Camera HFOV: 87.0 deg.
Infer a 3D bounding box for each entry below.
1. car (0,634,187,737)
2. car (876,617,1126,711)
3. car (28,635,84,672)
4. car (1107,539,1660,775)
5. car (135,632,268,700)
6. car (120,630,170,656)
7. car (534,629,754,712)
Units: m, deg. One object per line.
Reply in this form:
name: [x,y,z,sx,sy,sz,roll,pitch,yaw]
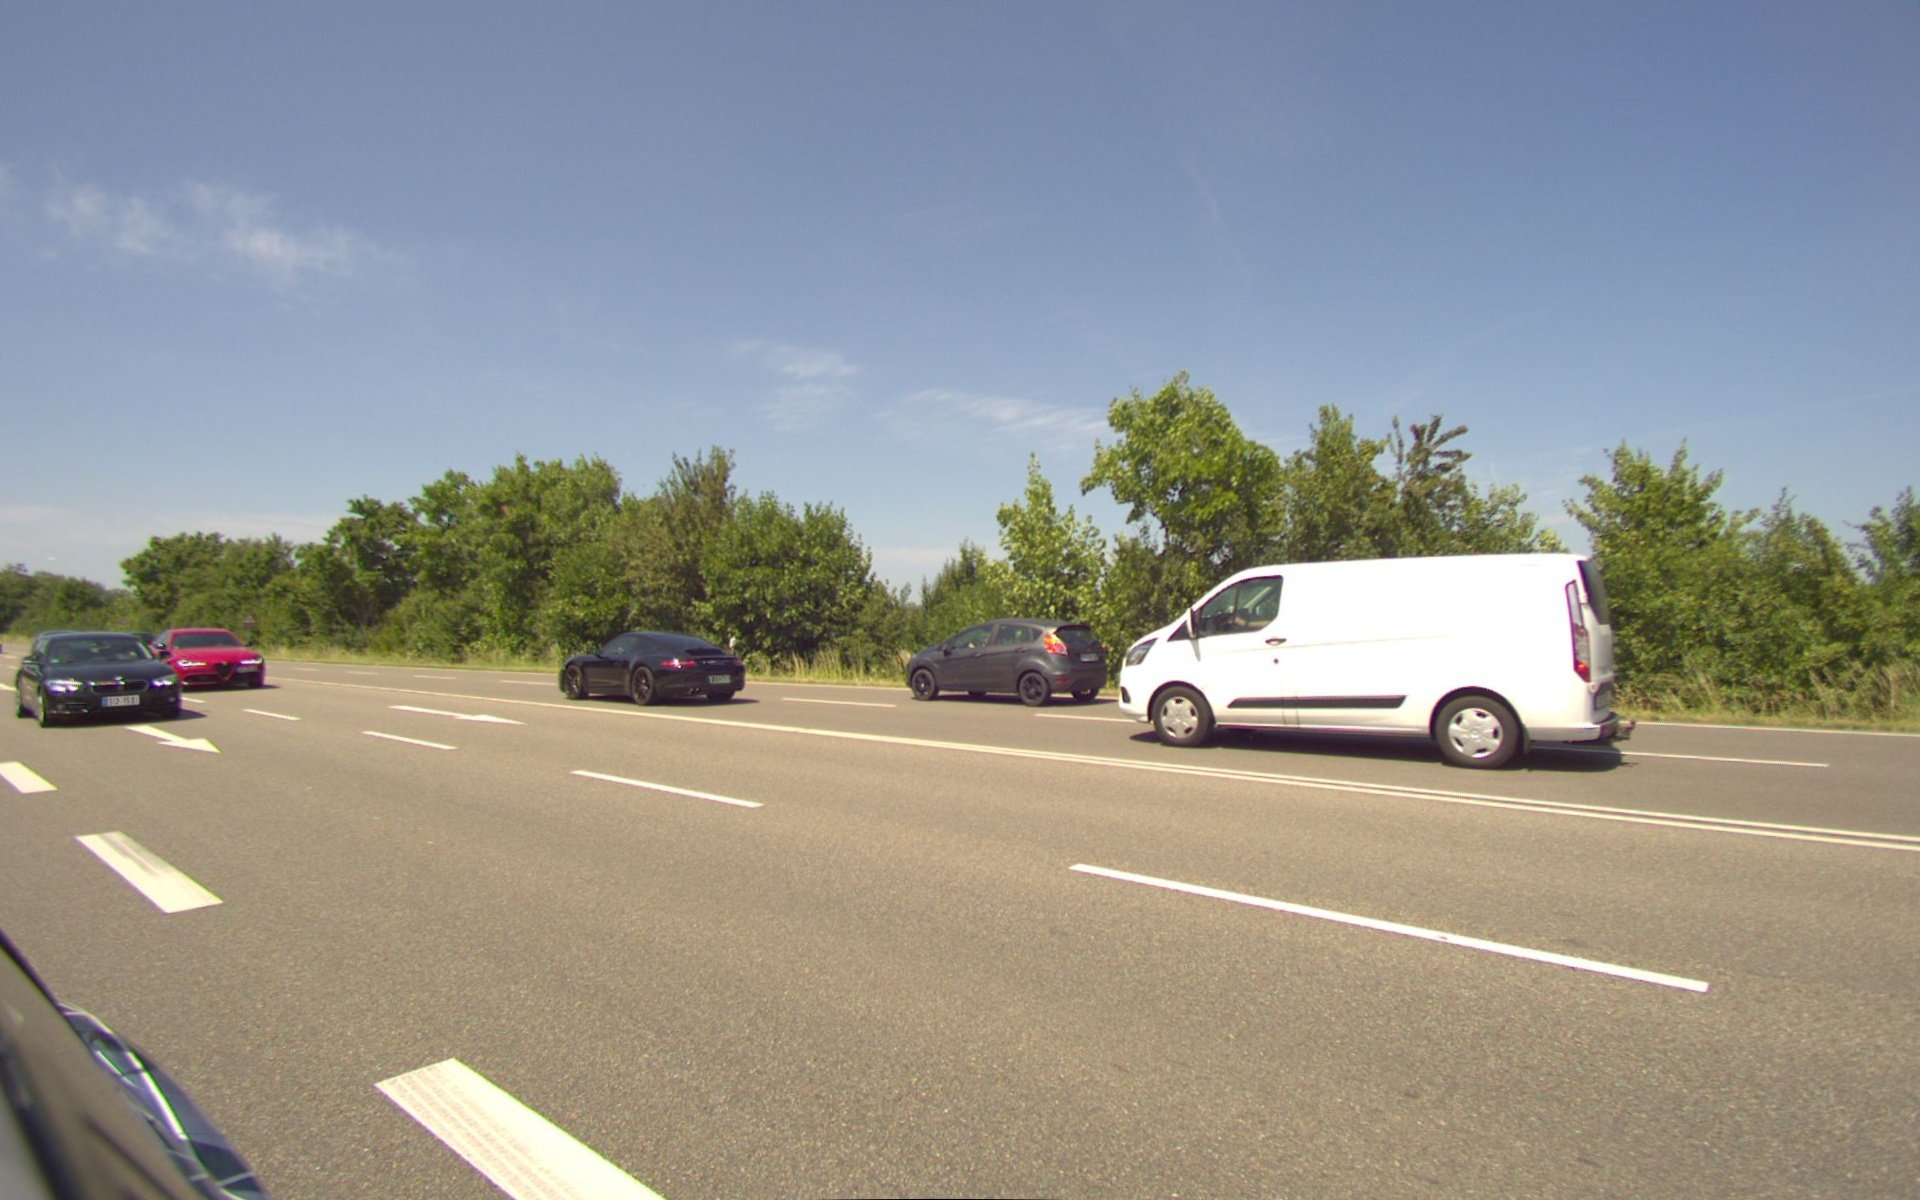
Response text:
car: [-14.493,1.340,16.839,4.378,1.441,1.765,-3,-1,41]
car: [0.631,1.080,17.992,4.340,1.472,1.642,-2,-2,40]
car: [-38.209,2.206,42.725,1.655,1.422,4.471,0,-1,-43]
car: [4.219,0.559,10.621,5.043,1.932,1.887,-2,-3,37]
car: [-18.447,1.554,24.532,4.564,1.432,1.730,-3,-1,42]
car: [-52.175,2.747,64.760,4.526,1.547,1.868,-2,-1,43]
car: [-5.956,1.236,18.732,4.850,1.344,1.535,-2,-2,40]
